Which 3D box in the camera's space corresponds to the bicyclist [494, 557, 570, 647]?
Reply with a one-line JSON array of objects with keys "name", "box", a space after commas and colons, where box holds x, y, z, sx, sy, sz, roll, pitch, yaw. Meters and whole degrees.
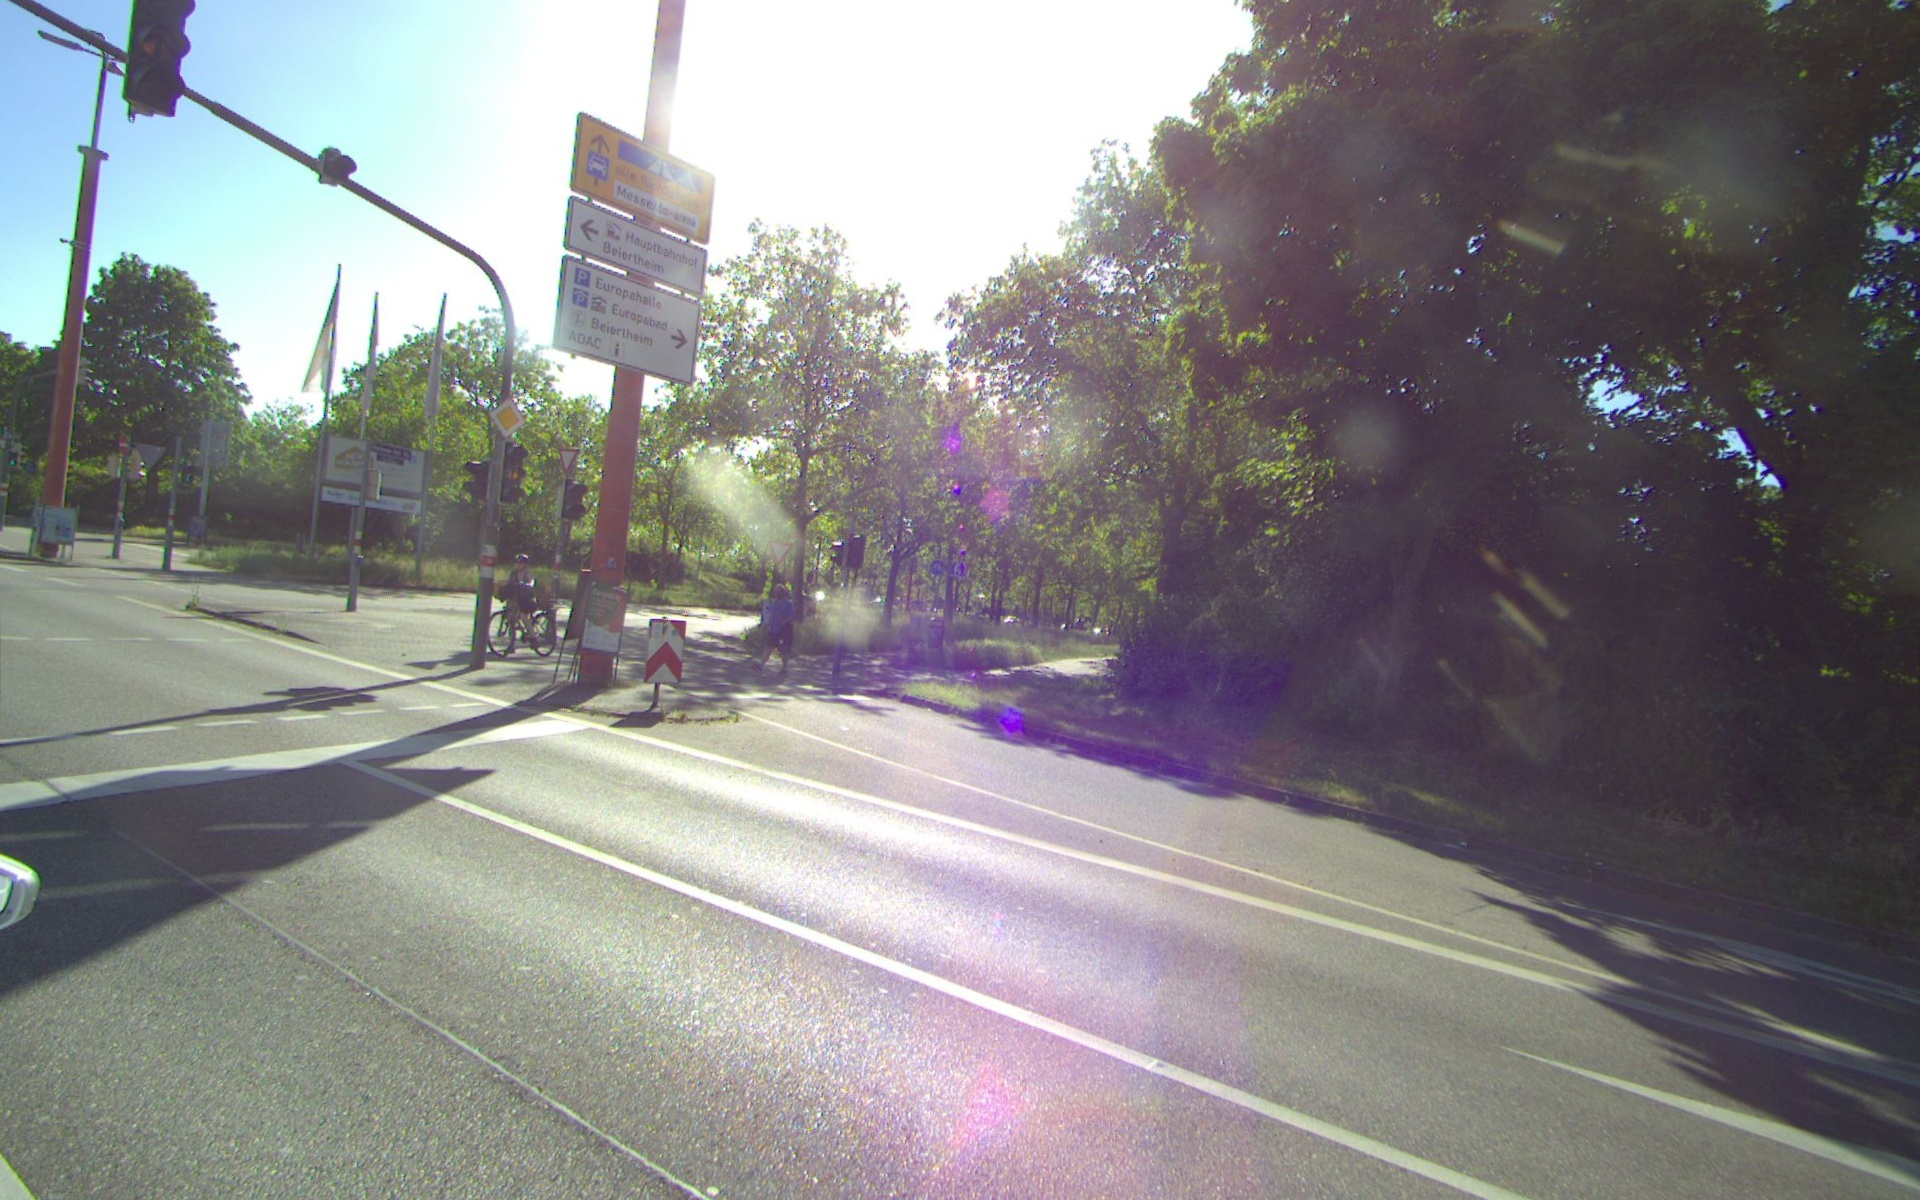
[{"name": "bicyclist", "box": [-6.947, 0.047, 16.345, 0.694, 1.358, 0.742, 7, 0, 14]}]

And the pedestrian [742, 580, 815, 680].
[{"name": "pedestrian", "box": [-3.541, 0.599, 19.711, 0.883, 1.810, 0.894, 8, 0, 17]}]

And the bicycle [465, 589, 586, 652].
[{"name": "bicycle", "box": [-6.921, 0.355, 16.174, 0.549, 0.889, 2.170, 7, -1, 12]}]
